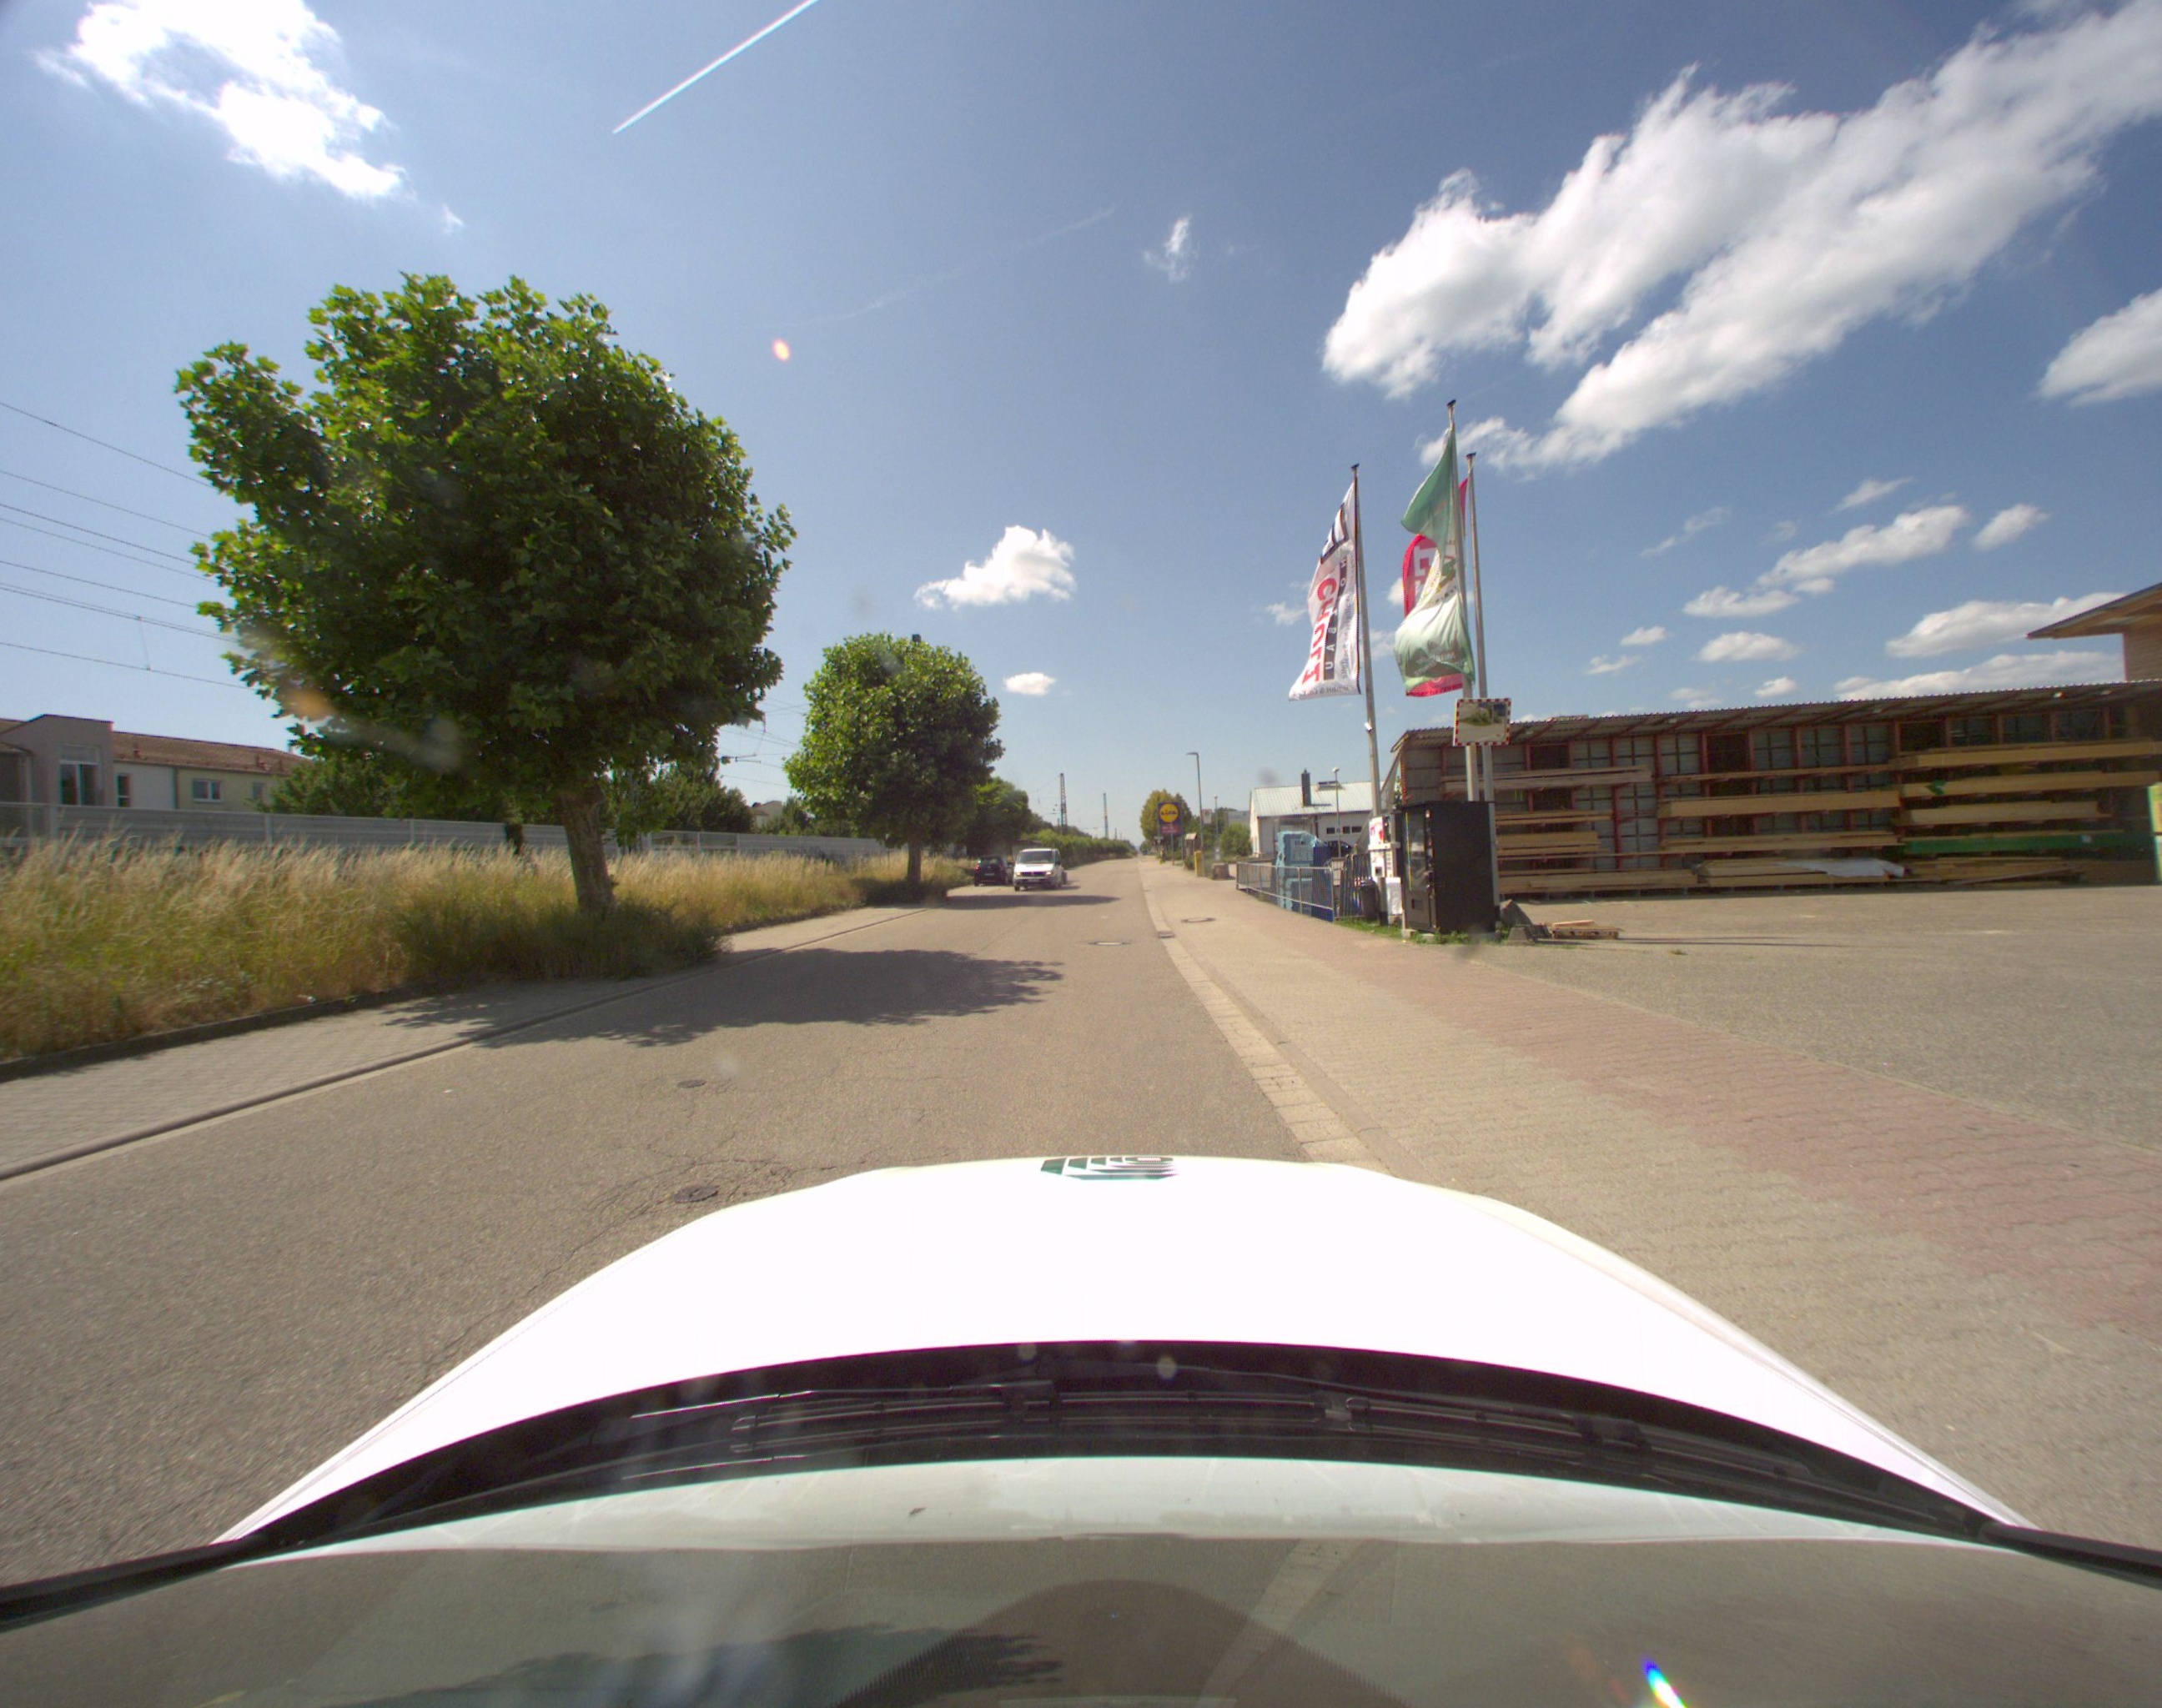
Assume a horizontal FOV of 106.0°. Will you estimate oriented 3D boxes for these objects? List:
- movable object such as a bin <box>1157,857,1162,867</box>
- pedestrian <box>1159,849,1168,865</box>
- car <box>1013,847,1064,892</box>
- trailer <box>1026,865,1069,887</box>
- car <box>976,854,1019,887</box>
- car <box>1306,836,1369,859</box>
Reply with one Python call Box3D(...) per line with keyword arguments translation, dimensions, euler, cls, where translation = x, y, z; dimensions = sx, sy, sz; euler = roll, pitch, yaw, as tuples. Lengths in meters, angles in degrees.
Box3D(translation=(8.052, 0.840, 83.150), dimensions=(0.373, 1.030, 0.498), euler=(-3, -1, -1), cls="movable object such as a bin")
Box3D(translation=(8.433, 0.286, 83.688), dimensions=(0.759, 1.602, 1.210), euler=(-3, 0, 1), cls="pedestrian")
Box3D(translation=(-1.873, 0.658, 37.138), dimensions=(1.831, 1.858, 4.486), euler=(-2, 0, 2), cls="car")
Box3D(translation=(-1.655, 1.113, 41.547), dimensions=(1.811, 0.850, 4.225), euler=(-4, 0, 2), cls="trailer")
Box3D(translation=(-4.290, 0.840, 42.420), dimensions=(1.735, 1.596, 3.580), euler=(-2, 0, 1), cls="car")
Box3D(translation=(19.027, -0.492, 60.461), dimensions=(3.991, 1.494, 1.991), euler=(-3, 0, -13), cls="car")
